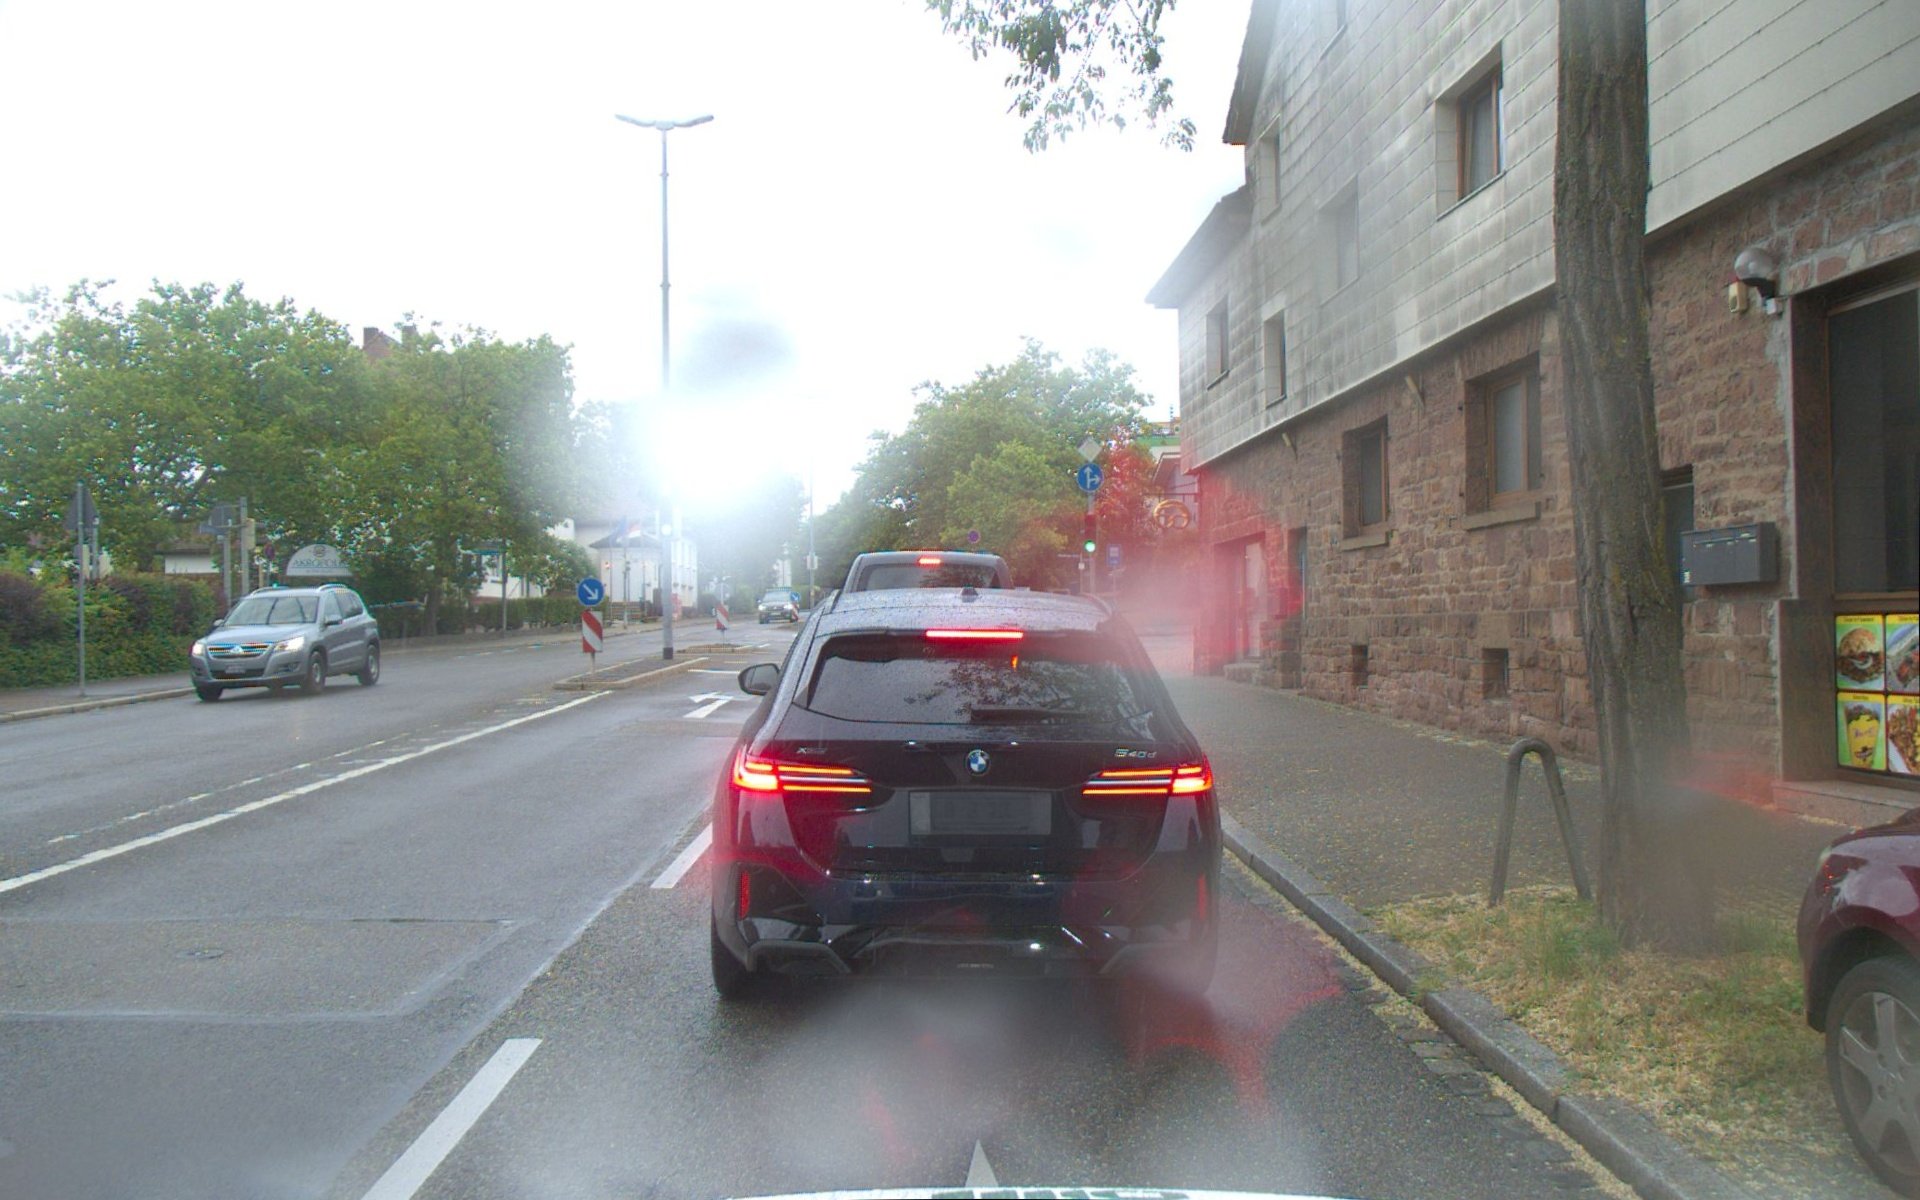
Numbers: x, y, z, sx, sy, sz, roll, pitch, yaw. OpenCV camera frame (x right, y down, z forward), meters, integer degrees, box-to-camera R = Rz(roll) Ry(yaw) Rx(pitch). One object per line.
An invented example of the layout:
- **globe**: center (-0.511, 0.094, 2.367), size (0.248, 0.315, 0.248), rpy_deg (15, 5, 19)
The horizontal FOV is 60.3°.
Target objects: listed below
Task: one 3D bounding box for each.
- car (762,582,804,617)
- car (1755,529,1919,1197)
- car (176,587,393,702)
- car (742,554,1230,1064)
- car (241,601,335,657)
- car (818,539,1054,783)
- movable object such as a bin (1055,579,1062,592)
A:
- **car**: center (-8.759, -0.046, 82.301), size (1.861, 1.604, 4.499), rpy_deg (-1, 1, -4)
- **car**: center (3.070, 0.577, 2.683), size (1.578, 1.530, 3.753), rpy_deg (1, -2, -4)
- **car**: center (-10.582, 0.634, 26.262), size (1.870, 1.618, 4.314), rpy_deg (-2, 0, -4)
- **car**: center (-0.023, 0.660, 6.888), size (1.494, 1.561, 3.529), rpy_deg (1, 0, -4)
- **car**: center (-23.143, 0.962, 57.128), size (1.772, 1.578, 4.000), rpy_deg (1, 4, -3)
- **car**: center (-0.300, 0.477, 14.517), size (1.776, 1.840, 3.753), rpy_deg (1, 0, -4)
- **movable object such as a bin**: center (6.882, -1.004, 115.376), size (0.440, 0.921, 0.463), rpy_deg (1, -1, 14)
